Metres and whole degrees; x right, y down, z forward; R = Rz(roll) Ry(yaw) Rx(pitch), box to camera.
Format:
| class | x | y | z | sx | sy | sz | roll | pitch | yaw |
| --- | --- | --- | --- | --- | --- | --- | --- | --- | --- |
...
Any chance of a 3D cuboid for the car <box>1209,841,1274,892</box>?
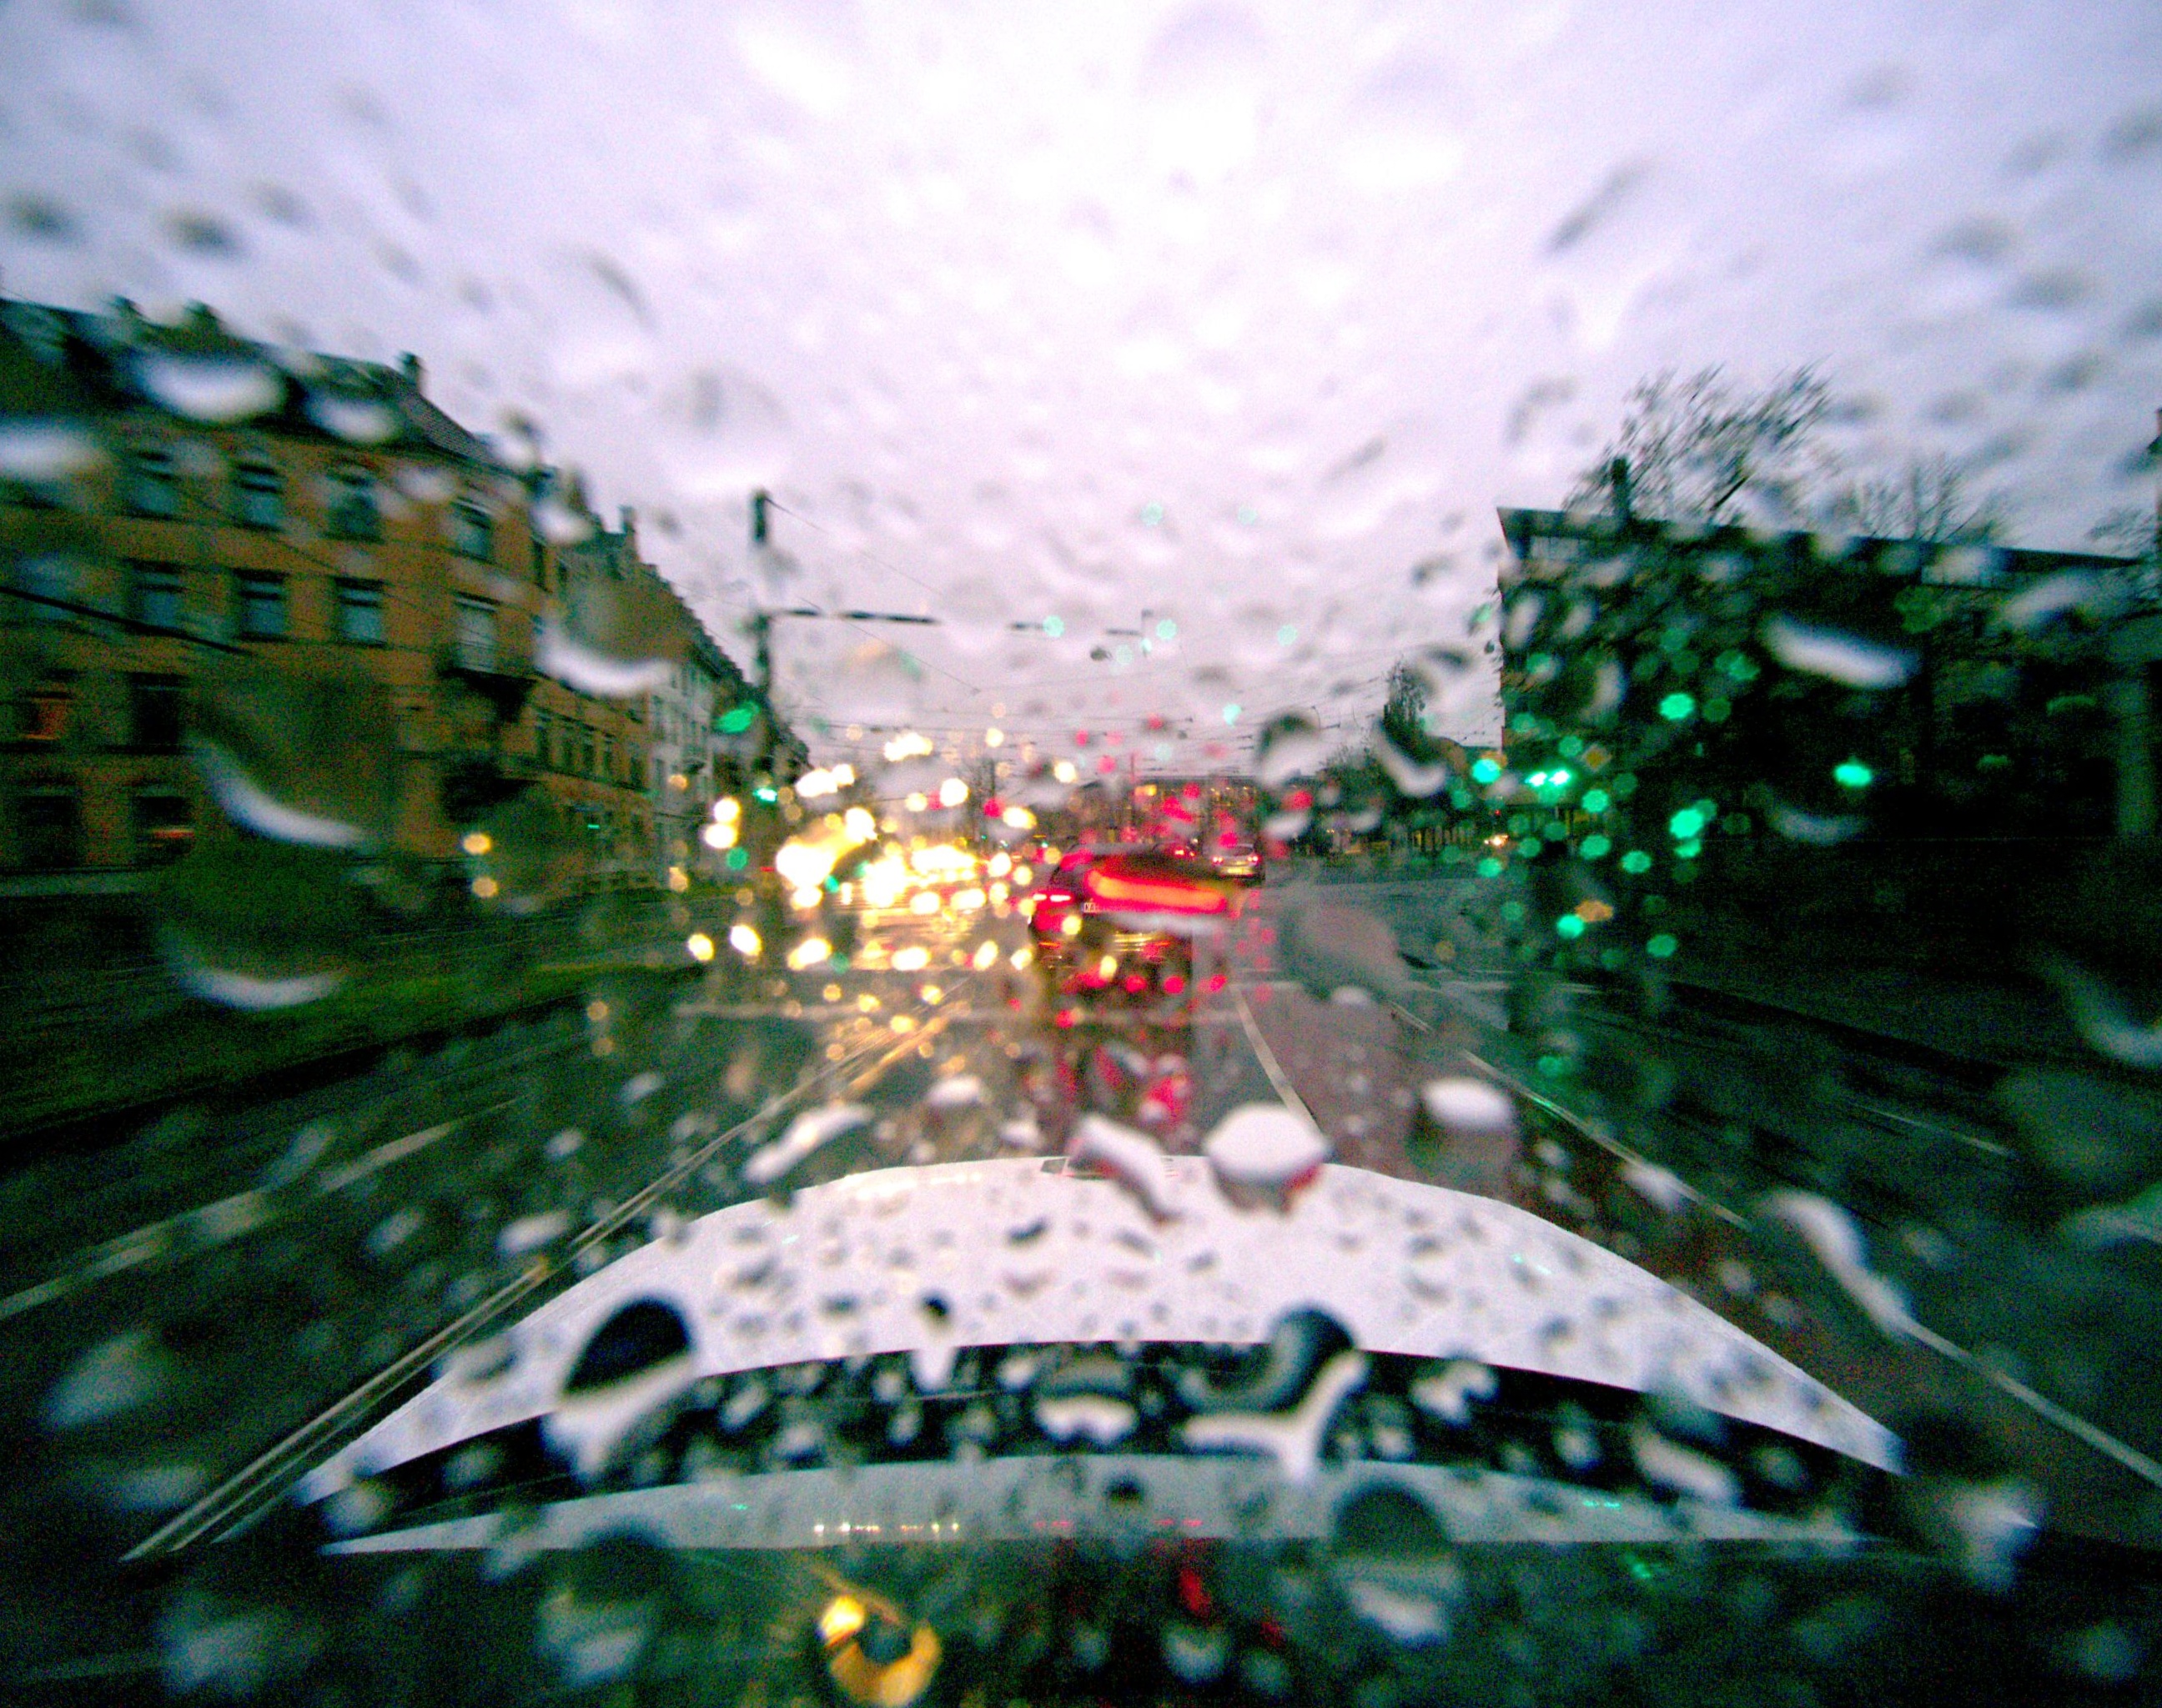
| class | x | y | z | sx | sy | sz | roll | pitch | yaw |
| --- | --- | --- | --- | --- | --- | --- | --- | --- | --- |
| car | 6.136 | 0.423 | 30.824 | 1.978 | 1.765 | 4.018 | -2 | 1 | 17 |

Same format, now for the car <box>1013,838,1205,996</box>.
| class | x | y | z | sx | sy | sz | roll | pitch | yaw |
| --- | --- | --- | --- | --- | --- | --- | --- | --- | --- |
| car | 0.404 | 0.649 | 10.620 | 1.982 | 1.616 | 4.004 | -2 | 1 | 3 |

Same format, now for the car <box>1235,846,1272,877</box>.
| class | x | y | z | sx | sy | sz | roll | pitch | yaw |
| --- | --- | --- | --- | --- | --- | --- | --- | --- | --- |
| car | 10.735 | 0.445 | 50.933 | 1.982 | 1.765 | 4.010 | -2 | 1 | 8 |

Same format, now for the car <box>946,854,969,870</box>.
| class | x | y | z | sx | sy | sz | roll | pitch | yaw |
| --- | --- | --- | --- | --- | --- | --- | --- | --- | --- |
| car | -10.326 | 0.671 | 67.966 | 1.538 | 1.245 | 4.069 | -2 | 1 | -13 |

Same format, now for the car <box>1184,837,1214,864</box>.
| class | x | y | z | sx | sy | sz | roll | pitch | yaw |
| --- | --- | --- | --- | --- | --- | --- | --- | --- | --- |
| car | 8.302 | -0.277 | 57.330 | 1.982 | 1.765 | 4.010 | -2 | 1 | 8 |

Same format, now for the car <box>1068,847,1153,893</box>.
| class | x | y | z | sx | sy | sz | roll | pitch | yaw |
| --- | --- | --- | --- | --- | --- | --- | --- | --- | --- |
| car | 1.118 | 0.493 | 28.032 | 1.978 | 1.398 | 4.017 | -2 | 1 | 16 |

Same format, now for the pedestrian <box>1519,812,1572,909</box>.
| class | x | y | z | sx | sy | sz | roll | pitch | yaw |
| --- | --- | --- | --- | --- | --- | --- | --- | --- | --- |
| pedestrian | 9.270 | 0.111 | 16.285 | 0.568 | 1.838 | 0.686 | -7 | 1 | 14 |

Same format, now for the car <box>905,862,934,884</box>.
| class | x | y | z | sx | sy | sz | roll | pitch | yaw |
| --- | --- | --- | --- | --- | --- | --- | --- | --- | --- |
| car | -11.751 | 1.346 | 58.999 | 1.684 | 1.457 | 4.310 | -2 | 0 | -16 |

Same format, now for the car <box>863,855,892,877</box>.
| class | x | y | z | sx | sy | sz | roll | pitch | yaw |
| --- | --- | --- | --- | --- | --- | --- | --- | --- | --- |
| car | -13.894 | 0.813 | 55.733 | 1.681 | 1.392 | 3.601 | -2 | 0 | -11 |

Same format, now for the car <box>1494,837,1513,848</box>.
| class | x | y | z | sx | sy | sz | roll | pitch | yaw |
| --- | --- | --- | --- | --- | --- | --- | --- | --- | --- |
| car | 49.576 | -1.405 | 95.507 | 1.651 | 1.180 | 3.732 | -1 | 1 | 32 |

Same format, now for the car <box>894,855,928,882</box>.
| class | x | y | z | sx | sy | sz | roll | pitch | yaw |
| --- | --- | --- | --- | --- | --- | --- | --- | --- | --- |
| car | -9.956 | 0.810 | 48.012 | 1.679 | 1.457 | 4.051 | -2 | 0 | -9 |
